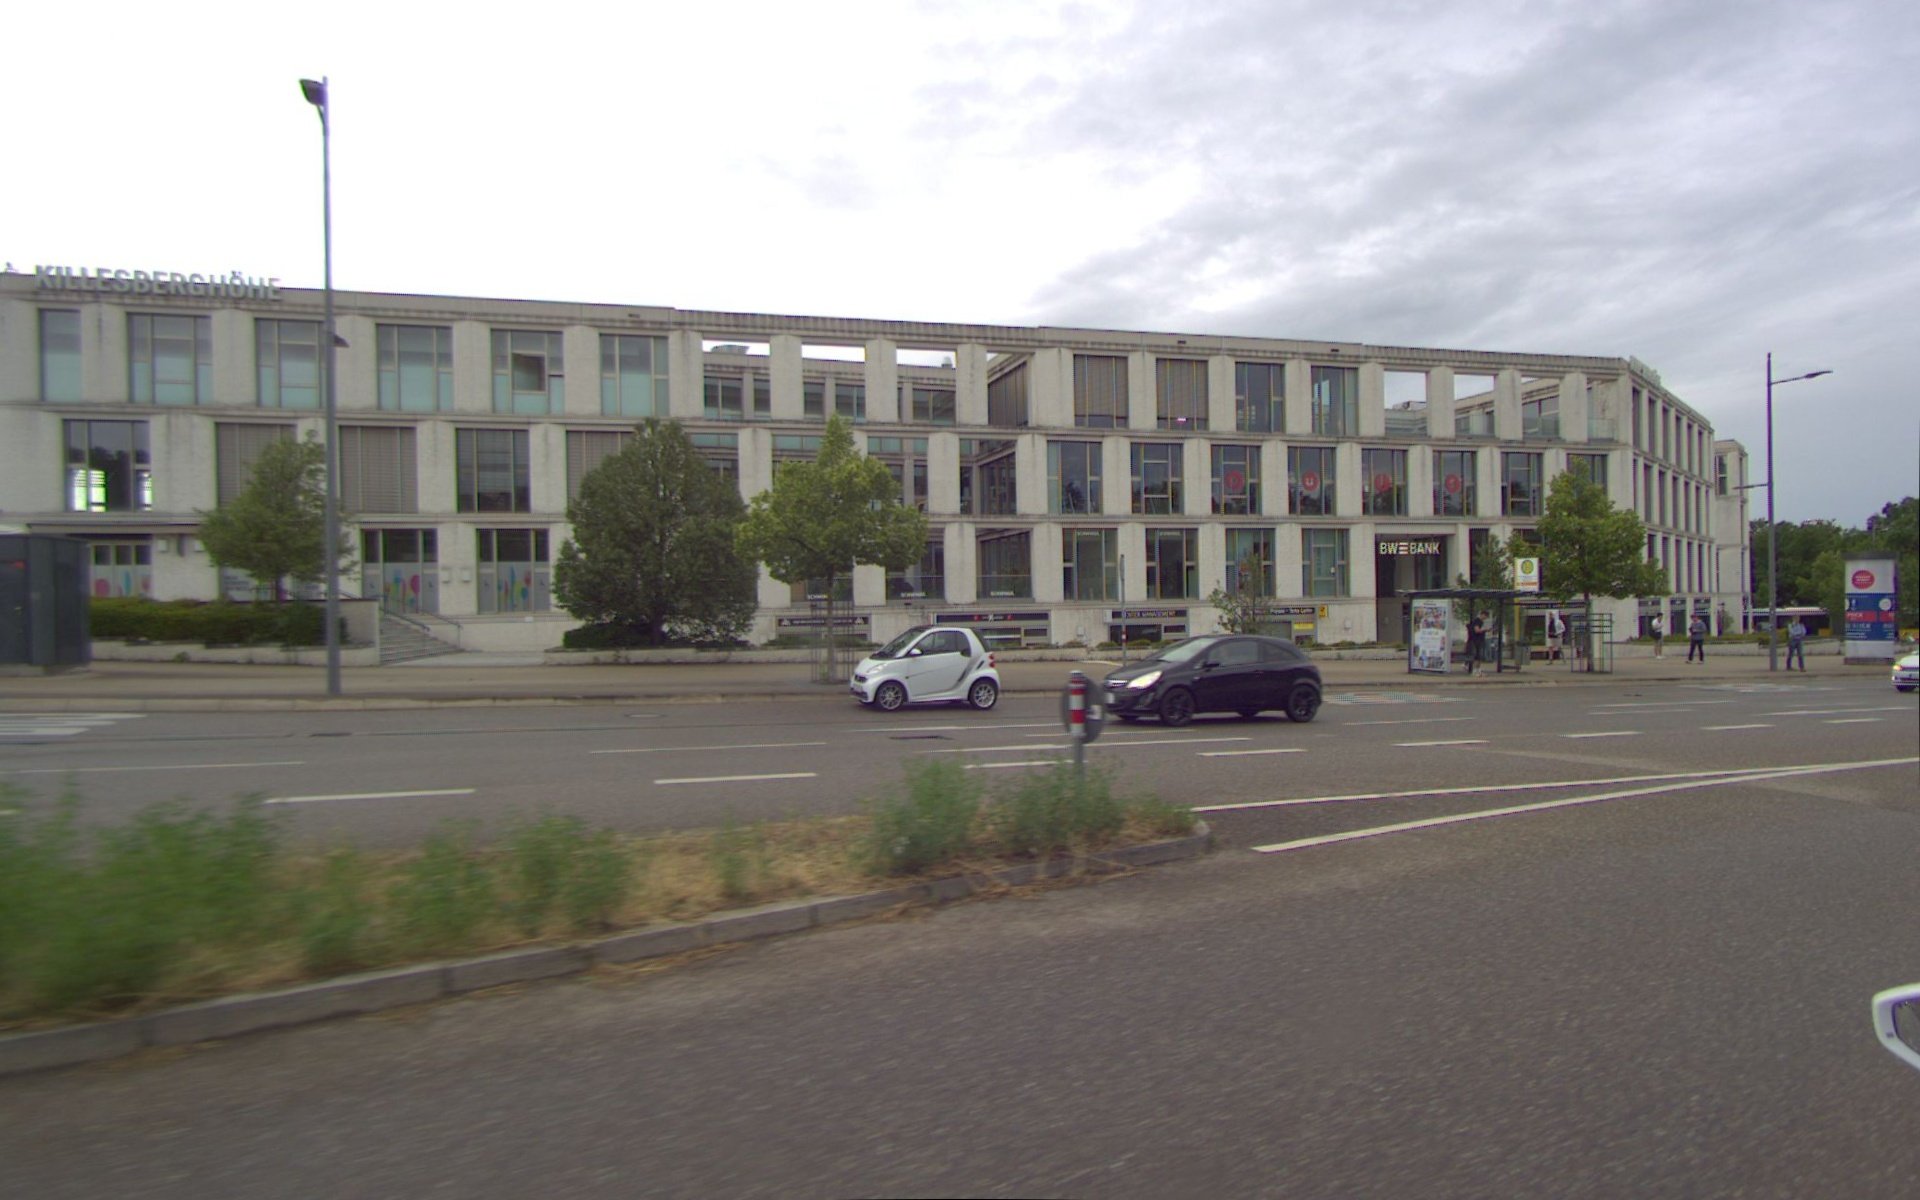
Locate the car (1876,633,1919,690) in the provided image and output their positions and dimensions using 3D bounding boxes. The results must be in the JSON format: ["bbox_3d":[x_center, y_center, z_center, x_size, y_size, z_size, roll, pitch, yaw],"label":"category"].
[{"bbox_3d":[26.500,1.627,26.490,4.115,1.448,1.870,2,-4,-22],"label":"car"}]

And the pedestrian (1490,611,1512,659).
[{"bbox_3d":[19.999,1.277,37.116,0.612,1.748,0.425,1,-1,-22],"label":"pedestrian"}]

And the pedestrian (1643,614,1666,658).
[{"bbox_3d":[27.078,1.401,39.175,0.907,1.712,0.493,1,-1,-39],"label":"pedestrian"}]

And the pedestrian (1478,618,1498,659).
[{"bbox_3d":[19.299,1.415,36.745,0.502,1.470,0.425,1,-1,-22],"label":"pedestrian"}]

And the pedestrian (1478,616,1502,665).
[{"bbox_3d":[18.937,1.438,35.872,0.557,1.748,0.524,1,-1,-20],"label":"pedestrian"}]

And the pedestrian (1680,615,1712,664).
[{"bbox_3d":[26.880,1.433,36.682,0.844,1.785,0.598,1,-1,-20],"label":"pedestrian"}]

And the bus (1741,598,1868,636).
[{"bbox_3d":[77.272,1.586,92.126,2.857,3.351,8.526,0,-1,-24],"label":"bus"}]

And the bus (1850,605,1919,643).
[{"bbox_3d":[80.475,2.016,83.339,2.854,3.144,9.711,0,-1,-21],"label":"bus"}]

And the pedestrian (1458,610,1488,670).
[{"bbox_3d":[16.134,1.257,31.603,0.598,1.880,0.578,1,-1,-24],"label":"pedestrian"}]

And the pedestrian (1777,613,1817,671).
[{"bbox_3d":[27.621,1.381,33.136,0.735,1.866,0.752,1,-1,-20],"label":"pedestrian"}]

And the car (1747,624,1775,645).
[{"bbox_3d":[67.819,2.913,85.019,1.752,1.754,3.981,-1,-1,40],"label":"car"}]

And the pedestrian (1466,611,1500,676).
[{"bbox_3d":[15.092,1.255,28.995,0.745,1.866,0.506,1,-1,-23],"label":"pedestrian"}]

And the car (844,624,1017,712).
[{"bbox_3d":[-0.583,1.278,19.261,2.929,1.528,1.610,2,0,-22],"label":"car"}]

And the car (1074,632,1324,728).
[{"bbox_3d":[4.060,1.320,17.119,3.811,1.481,1.843,2,-2,-22],"label":"car"}]
